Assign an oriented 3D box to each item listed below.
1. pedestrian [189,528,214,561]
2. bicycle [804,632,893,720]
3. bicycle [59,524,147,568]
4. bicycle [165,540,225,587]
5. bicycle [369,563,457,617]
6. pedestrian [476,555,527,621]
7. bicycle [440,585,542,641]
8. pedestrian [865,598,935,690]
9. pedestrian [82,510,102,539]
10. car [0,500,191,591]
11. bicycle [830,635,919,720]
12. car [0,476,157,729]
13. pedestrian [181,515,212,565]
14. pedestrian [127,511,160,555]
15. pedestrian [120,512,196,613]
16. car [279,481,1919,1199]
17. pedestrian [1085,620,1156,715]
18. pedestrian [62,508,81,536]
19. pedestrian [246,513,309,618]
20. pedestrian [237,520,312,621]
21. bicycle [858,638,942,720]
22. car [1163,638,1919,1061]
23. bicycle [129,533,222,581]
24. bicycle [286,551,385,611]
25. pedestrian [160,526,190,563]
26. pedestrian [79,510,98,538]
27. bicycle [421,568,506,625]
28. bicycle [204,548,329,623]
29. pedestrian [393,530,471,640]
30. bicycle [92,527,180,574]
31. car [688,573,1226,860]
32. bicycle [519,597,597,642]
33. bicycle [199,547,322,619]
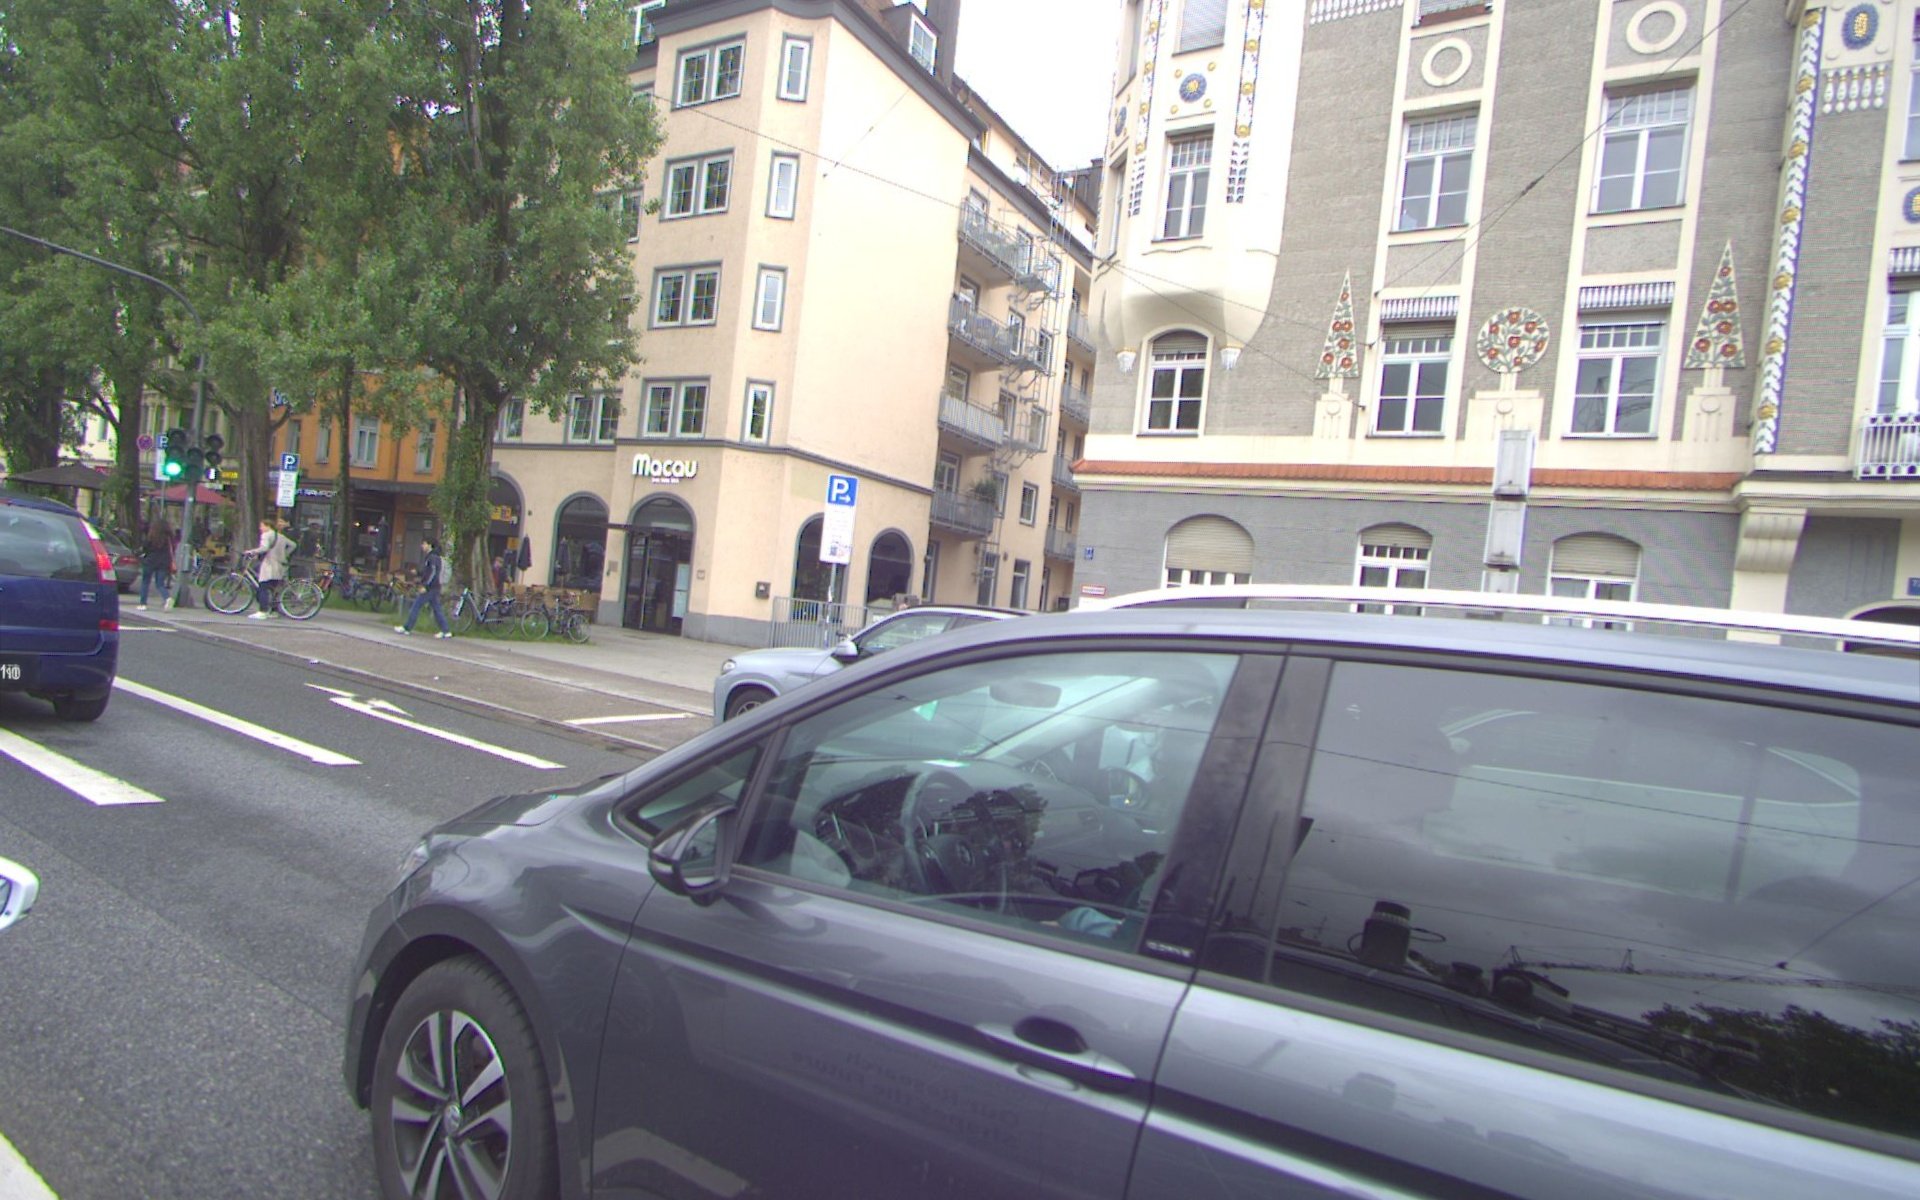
[{"bbox_3d":[-32.180,-2.352,42.684,0.573,1.296,0.583,6,1,31],"label":"pedestrian"},{"bbox_3d":[-1.608,1.045,14.259,0.441,1.035,1.825,6,-1,-31],"label":"bicycle"},{"bbox_3d":[-25.659,-1.602,30.147,0.451,1.067,1.889,6,0,33],"label":"bicycle"},{"bbox_3d":[-18.772,-0.895,24.685,1.626,0.977,0.589,6,1,32],"label":"bicycle"},{"bbox_3d":[-13.306,-0.236,24.536,0.440,1.123,1.799,7,-1,33],"label":"bicycle"},{"bbox_3d":[-12.063,-0.313,26.455,0.812,1.622,0.845,7,1,42],"label":"pedestrian"},{"bbox_3d":[-9.282,0.277,19.968,0.386,0.928,1.835,6,-1,33],"label":"bicycle"},{"bbox_3d":[-1.196,0.880,20.158,1.000,1.706,0.746,6,1,32],"label":"pedestrian"},{"bbox_3d":[-42.914,-3.727,49.737,0.543,1.349,0.495,6,1,32],"label":"pedestrian"},{"bbox_3d":[-18.608,-1.187,21.379,4.452,1.459,1.996,6,1,30],"label":"car"},{"bbox_3d":[-1.284,1.109,14.798,0.441,1.035,1.825,6,-1,-31],"label":"bicycle"},{"bbox_3d":[-7.636,-0.149,7.271,3.498,1.608,1.705,6,-1,32],"label":"car"},{"bbox_3d":[-28.290,-2.228,37.285,0.655,1.761,0.600,6,1,32],"label":"pedestrian"},{"bbox_3d":[-32.717,-2.697,40.328,0.773,1.653,0.711,6,1,32],"label":"pedestrian"},{"bbox_3d":[-13.431,-0.626,16.856,0.752,1.582,0.759,7,1,41],"label":"pedestrian"},{"bbox_3d":[0.724,0.794,2.067,4.631,1.668,1.772,6,1,33],"label":"car"},{"bbox_3d":[3.159,1.319,19.781,1.000,1.735,0.746,6,1,32],"label":"pedestrian"},{"bbox_3d":[-43.898,-3.862,49.710,0.543,1.305,0.495,6,1,32],"label":"pedestrian"},{"bbox_3d":[-12.411,-0.624,18.313,0.692,1.802,0.647,7,1,-25],"label":"pedestrian"},{"bbox_3d":[-12.077,-0.516,17.745,0.690,1.658,0.754,7,1,-11],"label":"pedestrian"},{"bbox_3d":[-0.946,1.176,15.379,0.388,1.035,1.825,6,-1,-31],"label":"bicycle"},{"bbox_3d":[3.566,1.290,6.583,3.903,1.597,1.727,6,1,33],"label":"car"},{"bbox_3d":[-21.117,-1.148,27.120,0.450,1.067,1.890,6,0,29],"label":"bicycle"},{"bbox_3d":[-14.233,-0.420,22.979,0.440,1.122,1.800,7,-2,33],"label":"bicycle"},{"bbox_3d":[-28.556,-2.027,36.585,0.655,1.237,0.601,6,1,32],"label":"pedestrian"},{"bbox_3d":[-43.594,-3.791,50.304,0.543,1.305,0.495,6,1,32],"label":"pedestrian"},{"bbox_3d":[-10.653,-0.055,21.631,0.386,1.063,1.574,6,-1,33],"label":"bicycle"},{"bbox_3d":[-12.194,-0.246,17.719,1.716,1.116,0.358,6,1,-13],"label":"bicycle"},{"bbox_3d":[-9.542,-0.271,18.177,0.877,1.822,0.747,9,-2,-42],"label":"pedestrian"},{"bbox_3d":[-24.612,-1.466,30.071,0.573,1.188,1.889,6,0,33],"label":"bicycle"},{"bbox_3d":[-0.138,0.840,8.991,4.427,1.682,1.734,6,1,31],"label":"car"},{"bbox_3d":[-8.578,0.431,21.516,0.385,0.845,1.575,6,-1,29],"label":"bicycle"},{"bbox_3d":[-12.690,-0.308,18.288,1.722,1.116,0.357,6,1,-24],"label":"bicycle"}]
